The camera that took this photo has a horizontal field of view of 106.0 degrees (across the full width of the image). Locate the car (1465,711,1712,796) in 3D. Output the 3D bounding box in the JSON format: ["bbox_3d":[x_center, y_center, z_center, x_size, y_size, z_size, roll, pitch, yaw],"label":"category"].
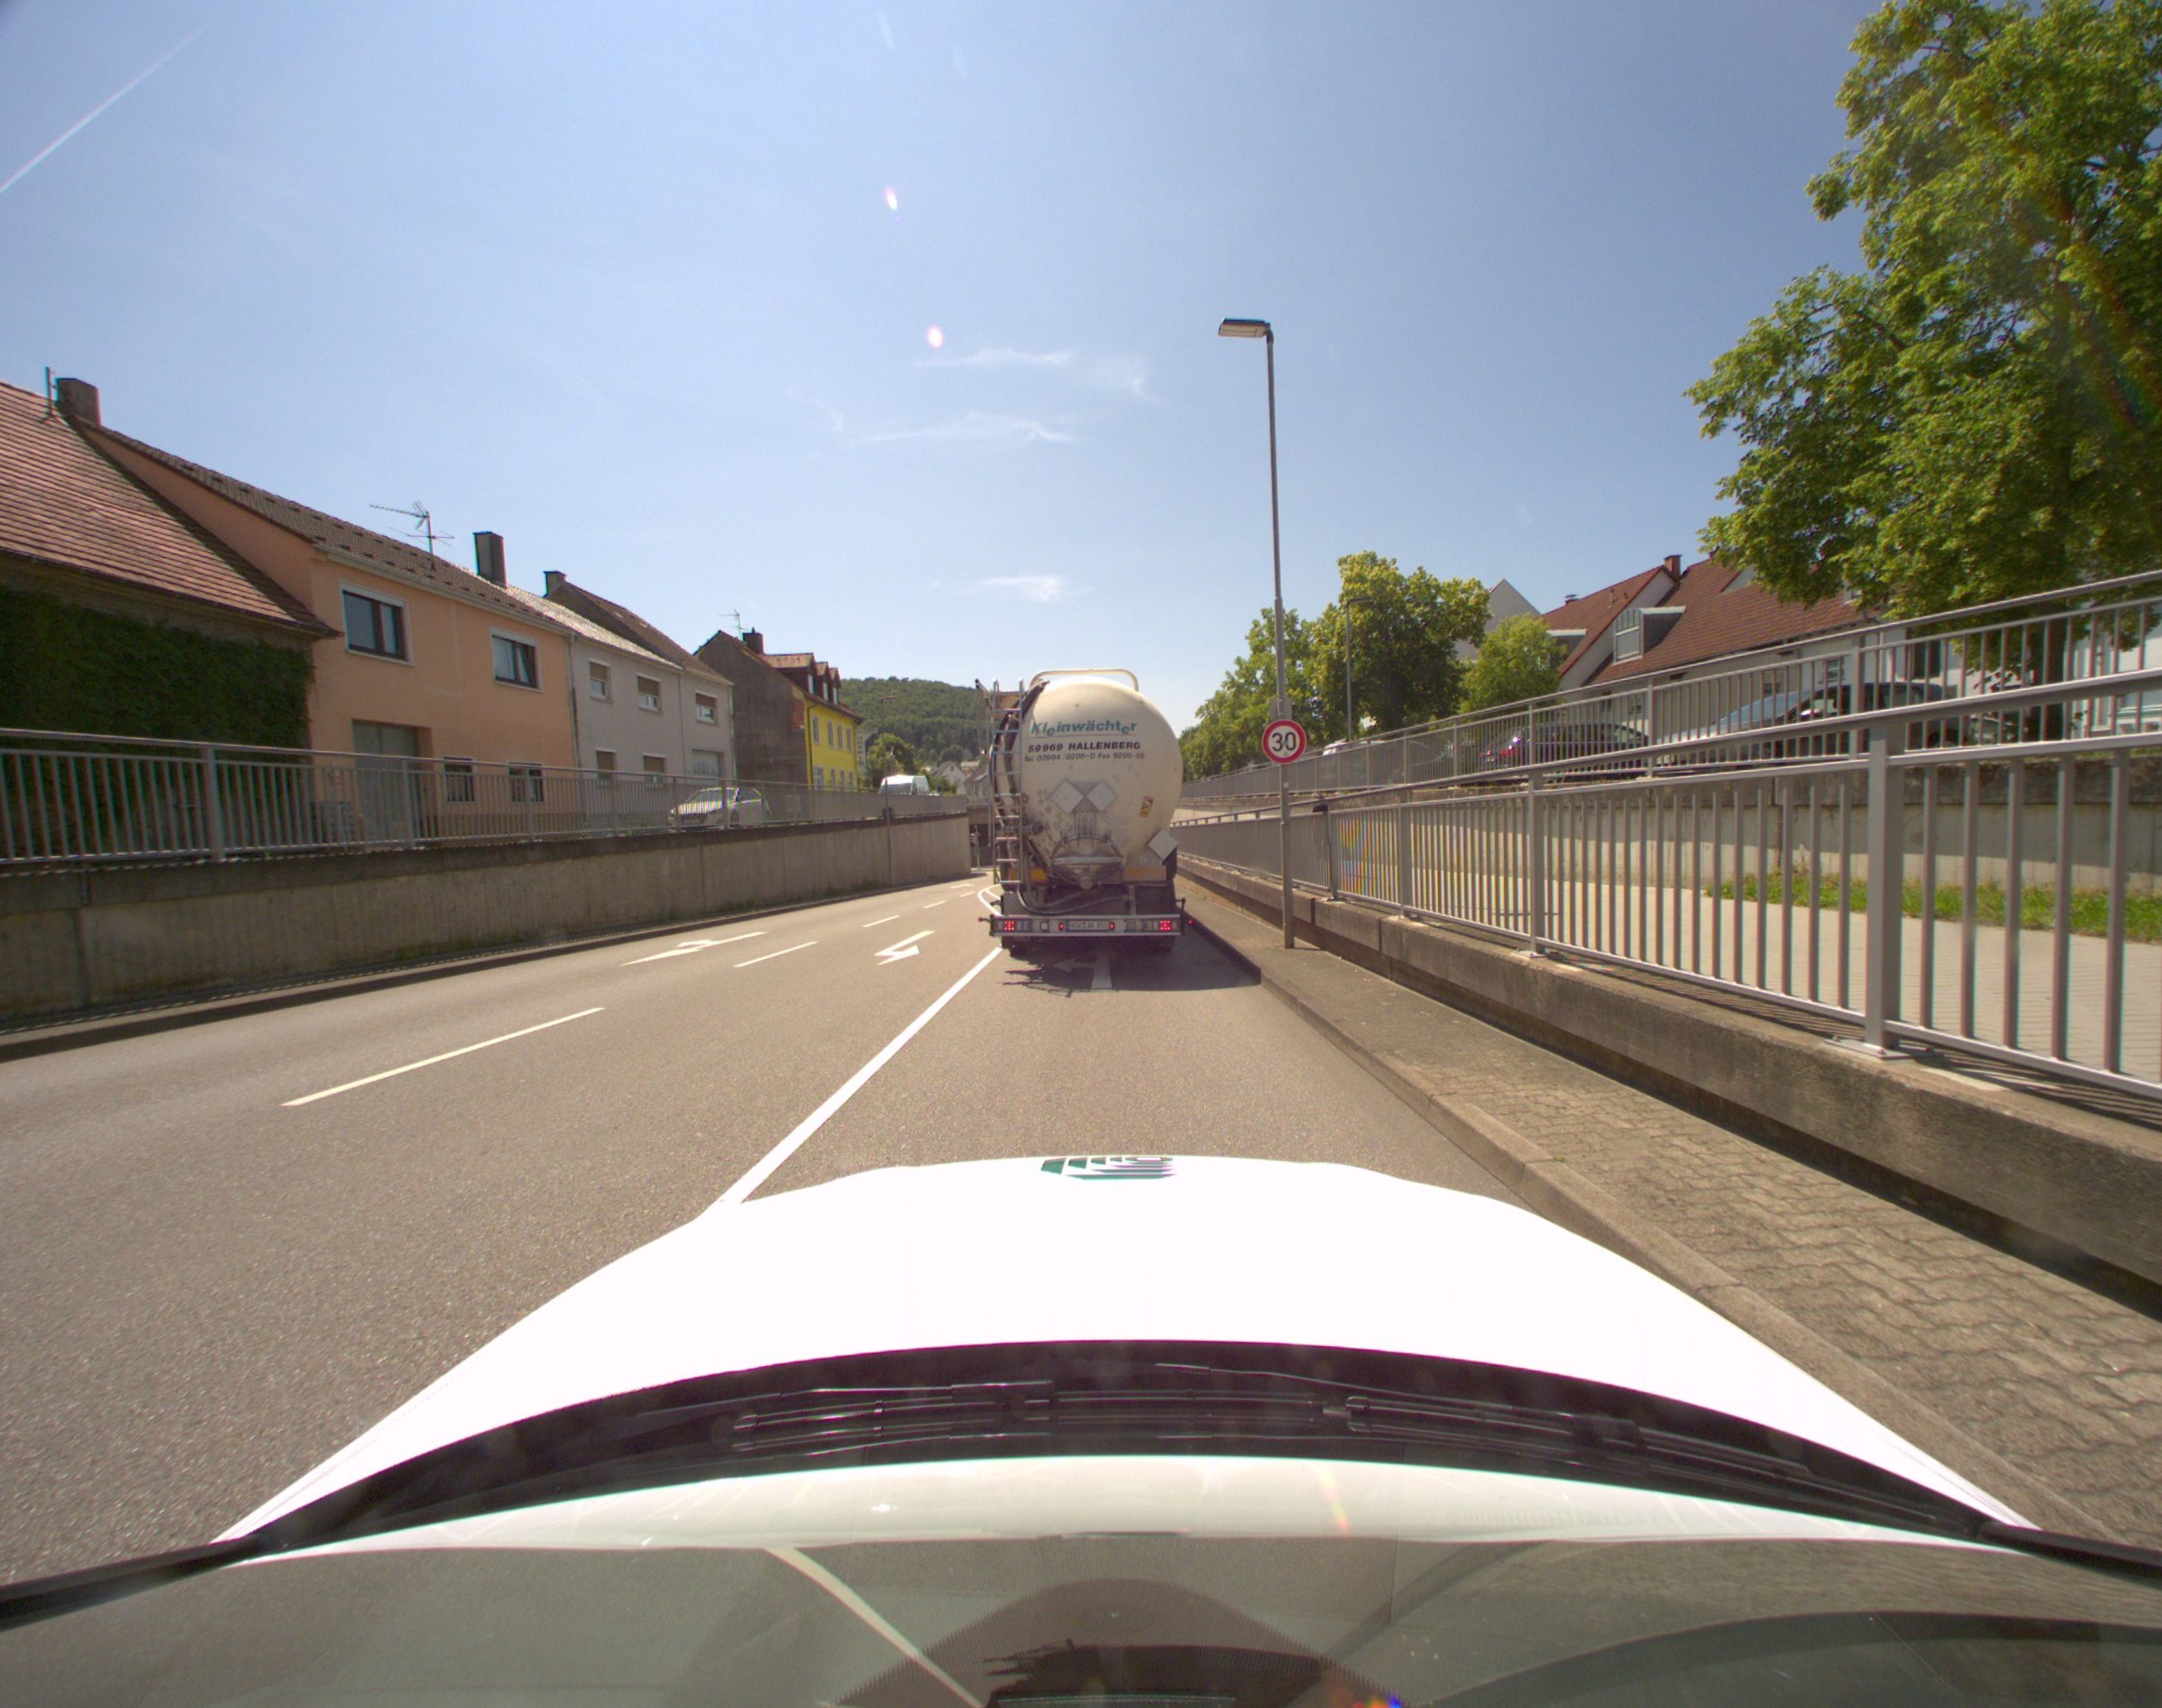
[{"bbox_3d":[10.632,-2.081,17.264,4.188,1.498,1.687,-2,3,2],"label":"car"}]

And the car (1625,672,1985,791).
[{"bbox_3d":[10.974,-1.823,12.576,3.971,1.498,1.750,-2,3,2],"label":"car"}]

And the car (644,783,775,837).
[{"bbox_3d":[-10.986,-1.334,24.471,1.806,1.462,4.313,-1,3,2],"label":"car"}]

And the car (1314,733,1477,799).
[{"bbox_3d":[11.244,-3.122,29.343,5.092,2.063,1.990,-2,3,2],"label":"car"}]

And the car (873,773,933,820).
[{"bbox_3d":[-10.251,-3.305,47.350,2.058,2.535,5.664,-1,3,1],"label":"car"}]

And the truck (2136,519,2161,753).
[{"bbox_3d":[11.928,-2.104,5.762,2.125,2.333,5.262,-2,3,1],"label":"truck"}]

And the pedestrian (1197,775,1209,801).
[{"bbox_3d":[8.429,-4.572,56.264,0.670,1.779,0.595,-2,2,3],"label":"pedestrian"}]

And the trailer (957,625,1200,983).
[{"bbox_3d":[0.237,-0.572,15.986,2.724,4.064,13.320,-1,0,2],"label":"trailer"}]

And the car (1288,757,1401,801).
[{"bbox_3d":[10.987,-3.122,34.094,4.188,1.595,1.687,-2,3,2],"label":"car"}]

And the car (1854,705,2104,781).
[{"bbox_3d":[22.761,-2.788,20.760,4.390,1.489,1.759,-4,3,1],"label":"car"}]

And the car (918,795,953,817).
[{"bbox_3d":[-10.038,-3.316,56.338,1.613,1.500,4.045,-1,3,0],"label":"car"}]

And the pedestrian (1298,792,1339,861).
[{"bbox_3d":[6.382,-0.733,21.889,0.833,1.781,0.789,-2,1,1],"label":"pedestrian"}]

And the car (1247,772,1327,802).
[{"bbox_3d":[11.037,-3.587,43.827,3.890,1.367,1.687,-2,3,2],"label":"car"}]

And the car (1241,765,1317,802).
[{"bbox_3d":[11.188,-3.983,46.257,3.890,1.884,1.687,-2,3,2],"label":"car"}]

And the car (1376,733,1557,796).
[{"bbox_3d":[10.708,-2.480,22.833,4.269,1.498,1.750,-2,3,2],"label":"car"}]

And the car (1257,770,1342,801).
[{"bbox_3d":[11.044,-3.450,41.385,3.890,1.367,1.687,-2,3,2],"label":"car"}]
